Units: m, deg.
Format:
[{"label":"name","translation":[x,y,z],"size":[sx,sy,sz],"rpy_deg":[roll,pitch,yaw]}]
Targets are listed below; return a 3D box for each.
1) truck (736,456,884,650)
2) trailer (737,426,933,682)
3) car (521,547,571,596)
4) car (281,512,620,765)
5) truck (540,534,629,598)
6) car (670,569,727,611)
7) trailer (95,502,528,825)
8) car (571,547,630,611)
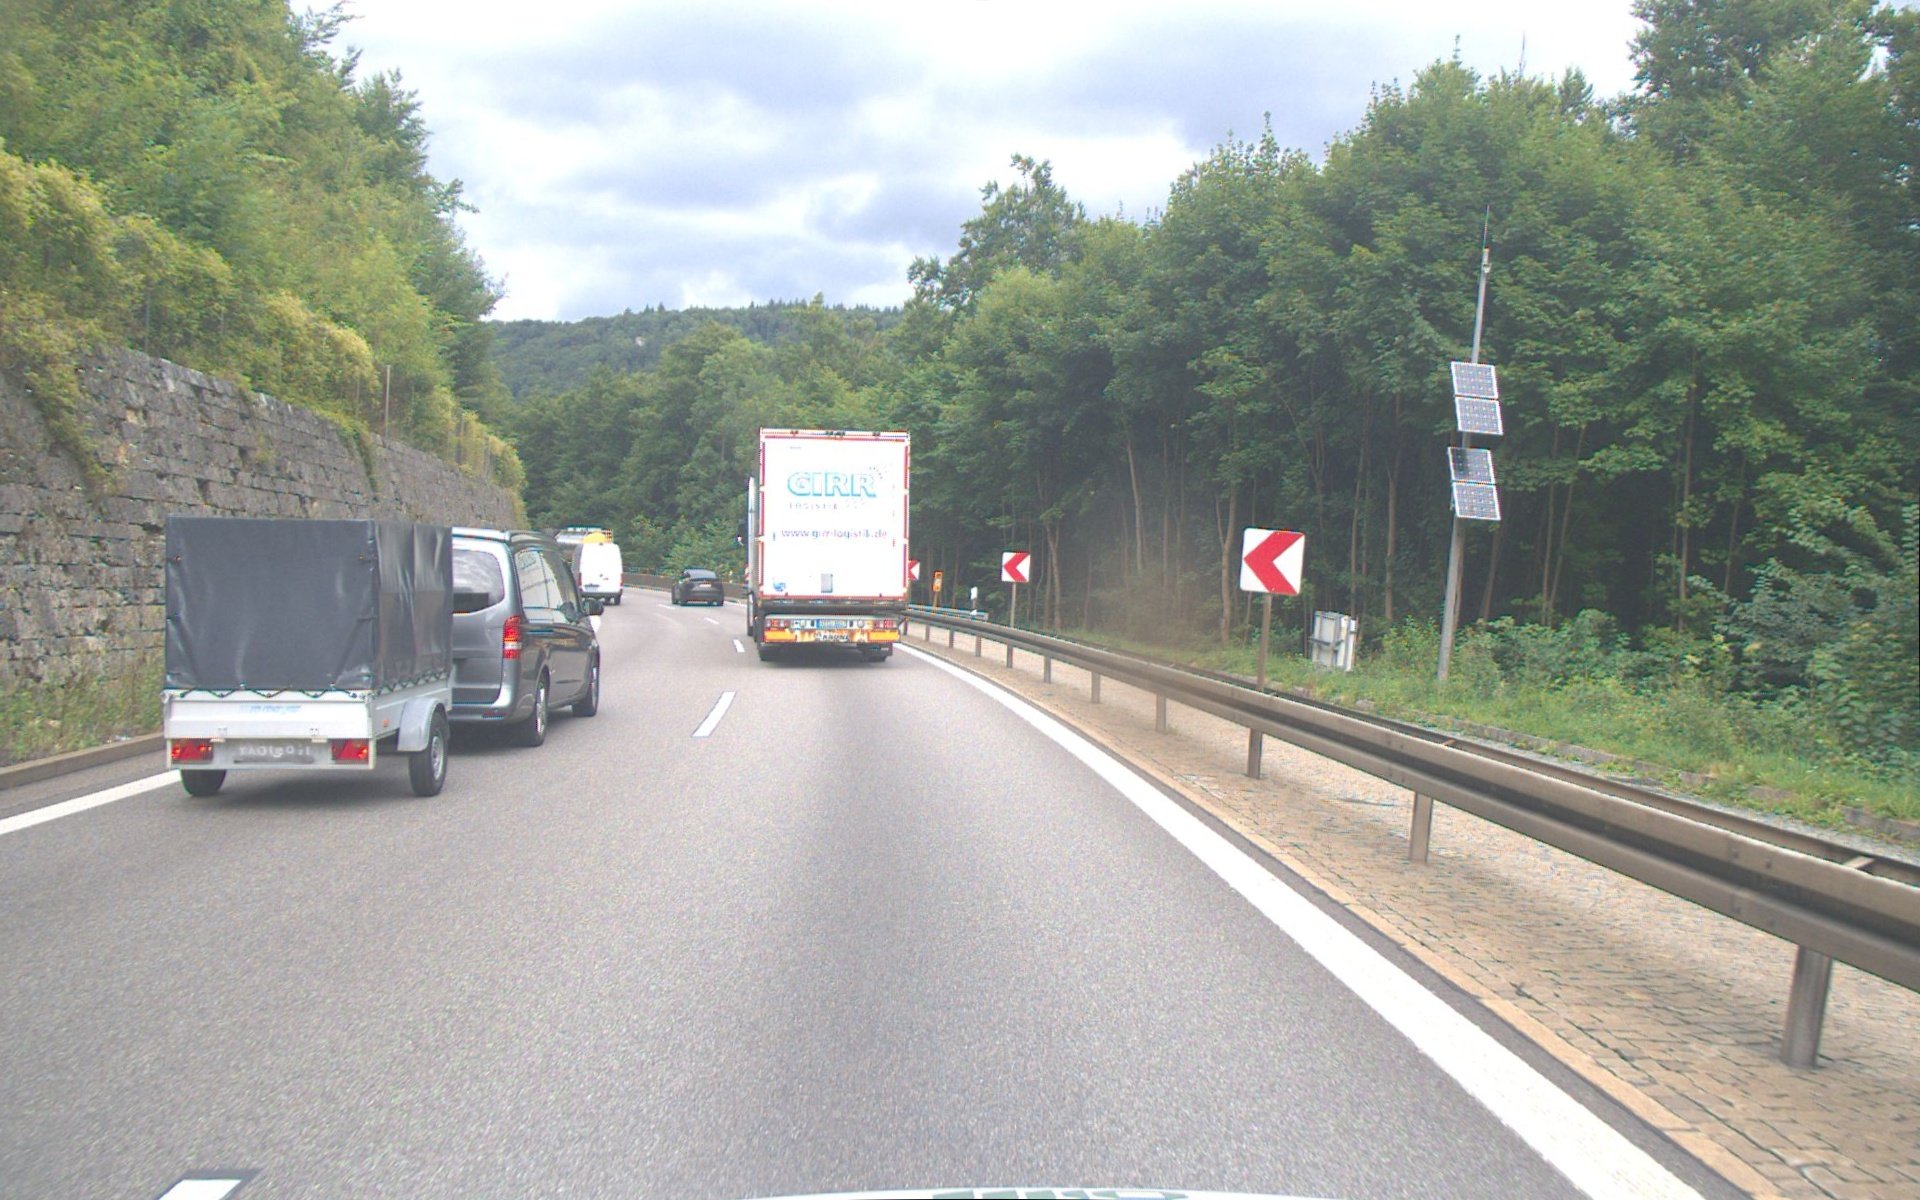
[{"label":"truck","translation":[-3.748,-1.163,39.718],"size":[3.000,4.054,7.176],"rpy_deg":[3,2,-8]},{"label":"trailer","translation":[-2.864,-0.993,33.354],"size":[3.000,4.054,12.117],"rpy_deg":[3,2,-8]},{"label":"car","translation":[-24.691,-1.737,98.520],"size":[1.913,2.718,5.950],"rpy_deg":[3,1,-23]},{"label":"car","translation":[-4.731,0.288,16.301],"size":[1.954,2.049,5.536],"rpy_deg":[1,1,-4]},{"label":"truck","translation":[-25.271,-2.310,110.650],"size":[3.019,4.055,13.591],"rpy_deg":[0,2,-25]},{"label":"car","translation":[-11.712,-0.459,73.961],"size":[1.961,1.691,3.983],"rpy_deg":[3,0,-16]},{"label":"trailer","translation":[-4.431,0.380,11.888],"size":[1.932,1.973,3.428],"rpy_deg":[1,1,-4]},{"label":"car","translation":[-16.417,-0.991,75.278],"size":[1.957,2.718,6.904],"rpy_deg":[3,1,-17]}]
